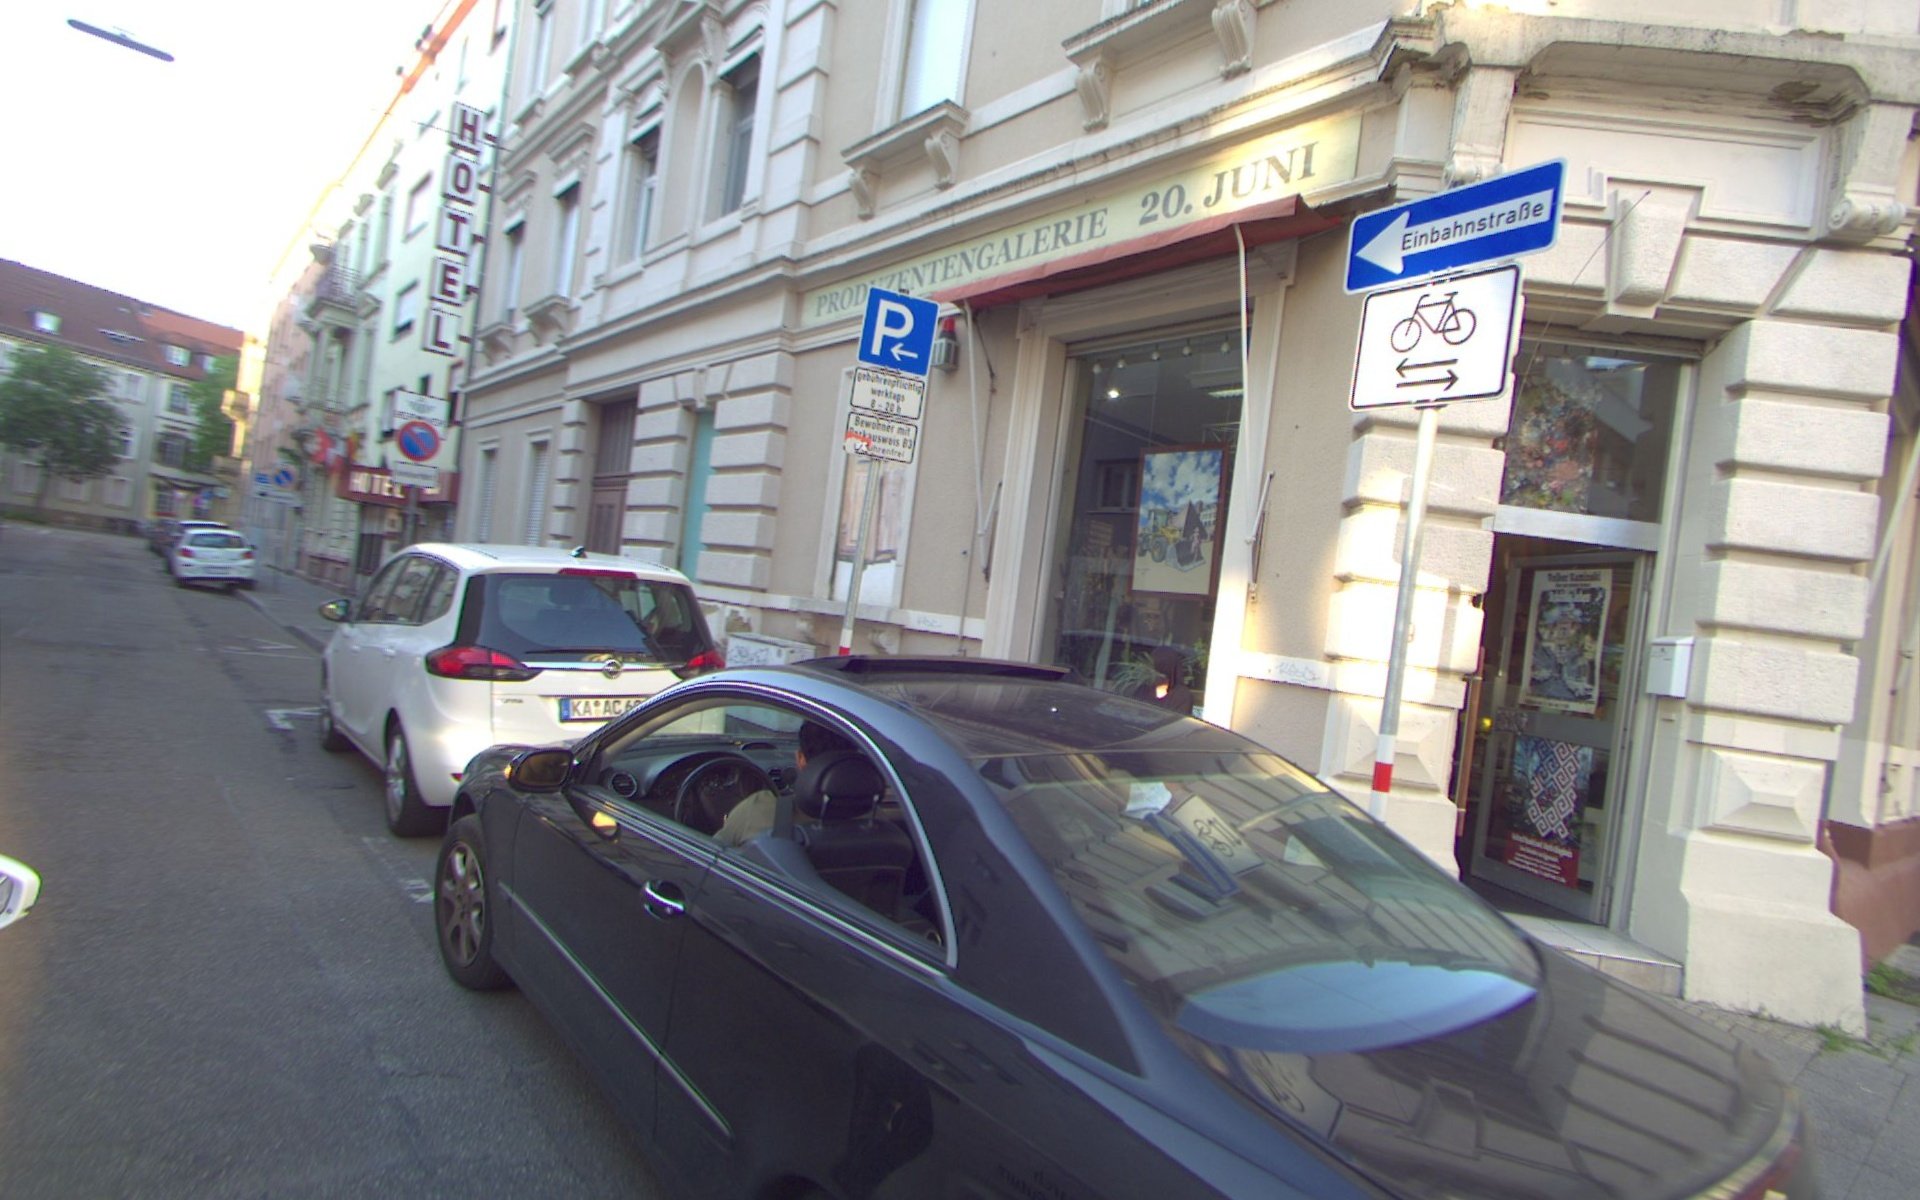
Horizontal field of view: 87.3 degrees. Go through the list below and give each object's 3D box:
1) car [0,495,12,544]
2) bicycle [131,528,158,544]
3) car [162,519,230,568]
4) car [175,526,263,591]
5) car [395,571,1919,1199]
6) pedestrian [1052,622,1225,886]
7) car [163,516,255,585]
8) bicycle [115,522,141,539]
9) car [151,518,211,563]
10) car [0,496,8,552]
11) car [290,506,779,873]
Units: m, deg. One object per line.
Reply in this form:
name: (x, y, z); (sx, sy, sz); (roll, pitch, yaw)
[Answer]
car: (-34.023, -2.879, 34.327); (1.985, 1.682, 3.935); (8, -1, -39)
bicycle: (-56.376, -4.410, 69.569); (1.692, 0.905, 0.520); (7, -1, 17)
car: (-32.967, -2.459, 43.356); (1.986, 1.729, 3.954); (8, -1, -41)
car: (-19.424, -1.112, 26.313); (1.652, 1.479, 3.717); (1, 4, -39)
car: (-0.248, 0.852, 3.088); (1.875, 1.425, 4.681); (8, -1, -37)
pedestrian: (1.115, 0.939, 6.271); (0.712, 1.489, 0.574); (8, -1, -40)
car: (-23.408, -1.550, 31.301); (1.985, 1.753, 4.016); (8, -2, -39)
bicycle: (-57.959, -4.842, 70.084); (1.692, 0.960, 0.520); (7, -1, 17)
car: (-36.645, -2.805, 47.313); (1.985, 1.782, 3.957); (8, -1, -39)
car: (-29.763, -2.400, 29.869); (1.988, 1.686, 4.356); (9, -2, -43)
car: (-3.247, 0.375, 7.039); (1.810, 1.744, 4.412); (8, -1, -40)
